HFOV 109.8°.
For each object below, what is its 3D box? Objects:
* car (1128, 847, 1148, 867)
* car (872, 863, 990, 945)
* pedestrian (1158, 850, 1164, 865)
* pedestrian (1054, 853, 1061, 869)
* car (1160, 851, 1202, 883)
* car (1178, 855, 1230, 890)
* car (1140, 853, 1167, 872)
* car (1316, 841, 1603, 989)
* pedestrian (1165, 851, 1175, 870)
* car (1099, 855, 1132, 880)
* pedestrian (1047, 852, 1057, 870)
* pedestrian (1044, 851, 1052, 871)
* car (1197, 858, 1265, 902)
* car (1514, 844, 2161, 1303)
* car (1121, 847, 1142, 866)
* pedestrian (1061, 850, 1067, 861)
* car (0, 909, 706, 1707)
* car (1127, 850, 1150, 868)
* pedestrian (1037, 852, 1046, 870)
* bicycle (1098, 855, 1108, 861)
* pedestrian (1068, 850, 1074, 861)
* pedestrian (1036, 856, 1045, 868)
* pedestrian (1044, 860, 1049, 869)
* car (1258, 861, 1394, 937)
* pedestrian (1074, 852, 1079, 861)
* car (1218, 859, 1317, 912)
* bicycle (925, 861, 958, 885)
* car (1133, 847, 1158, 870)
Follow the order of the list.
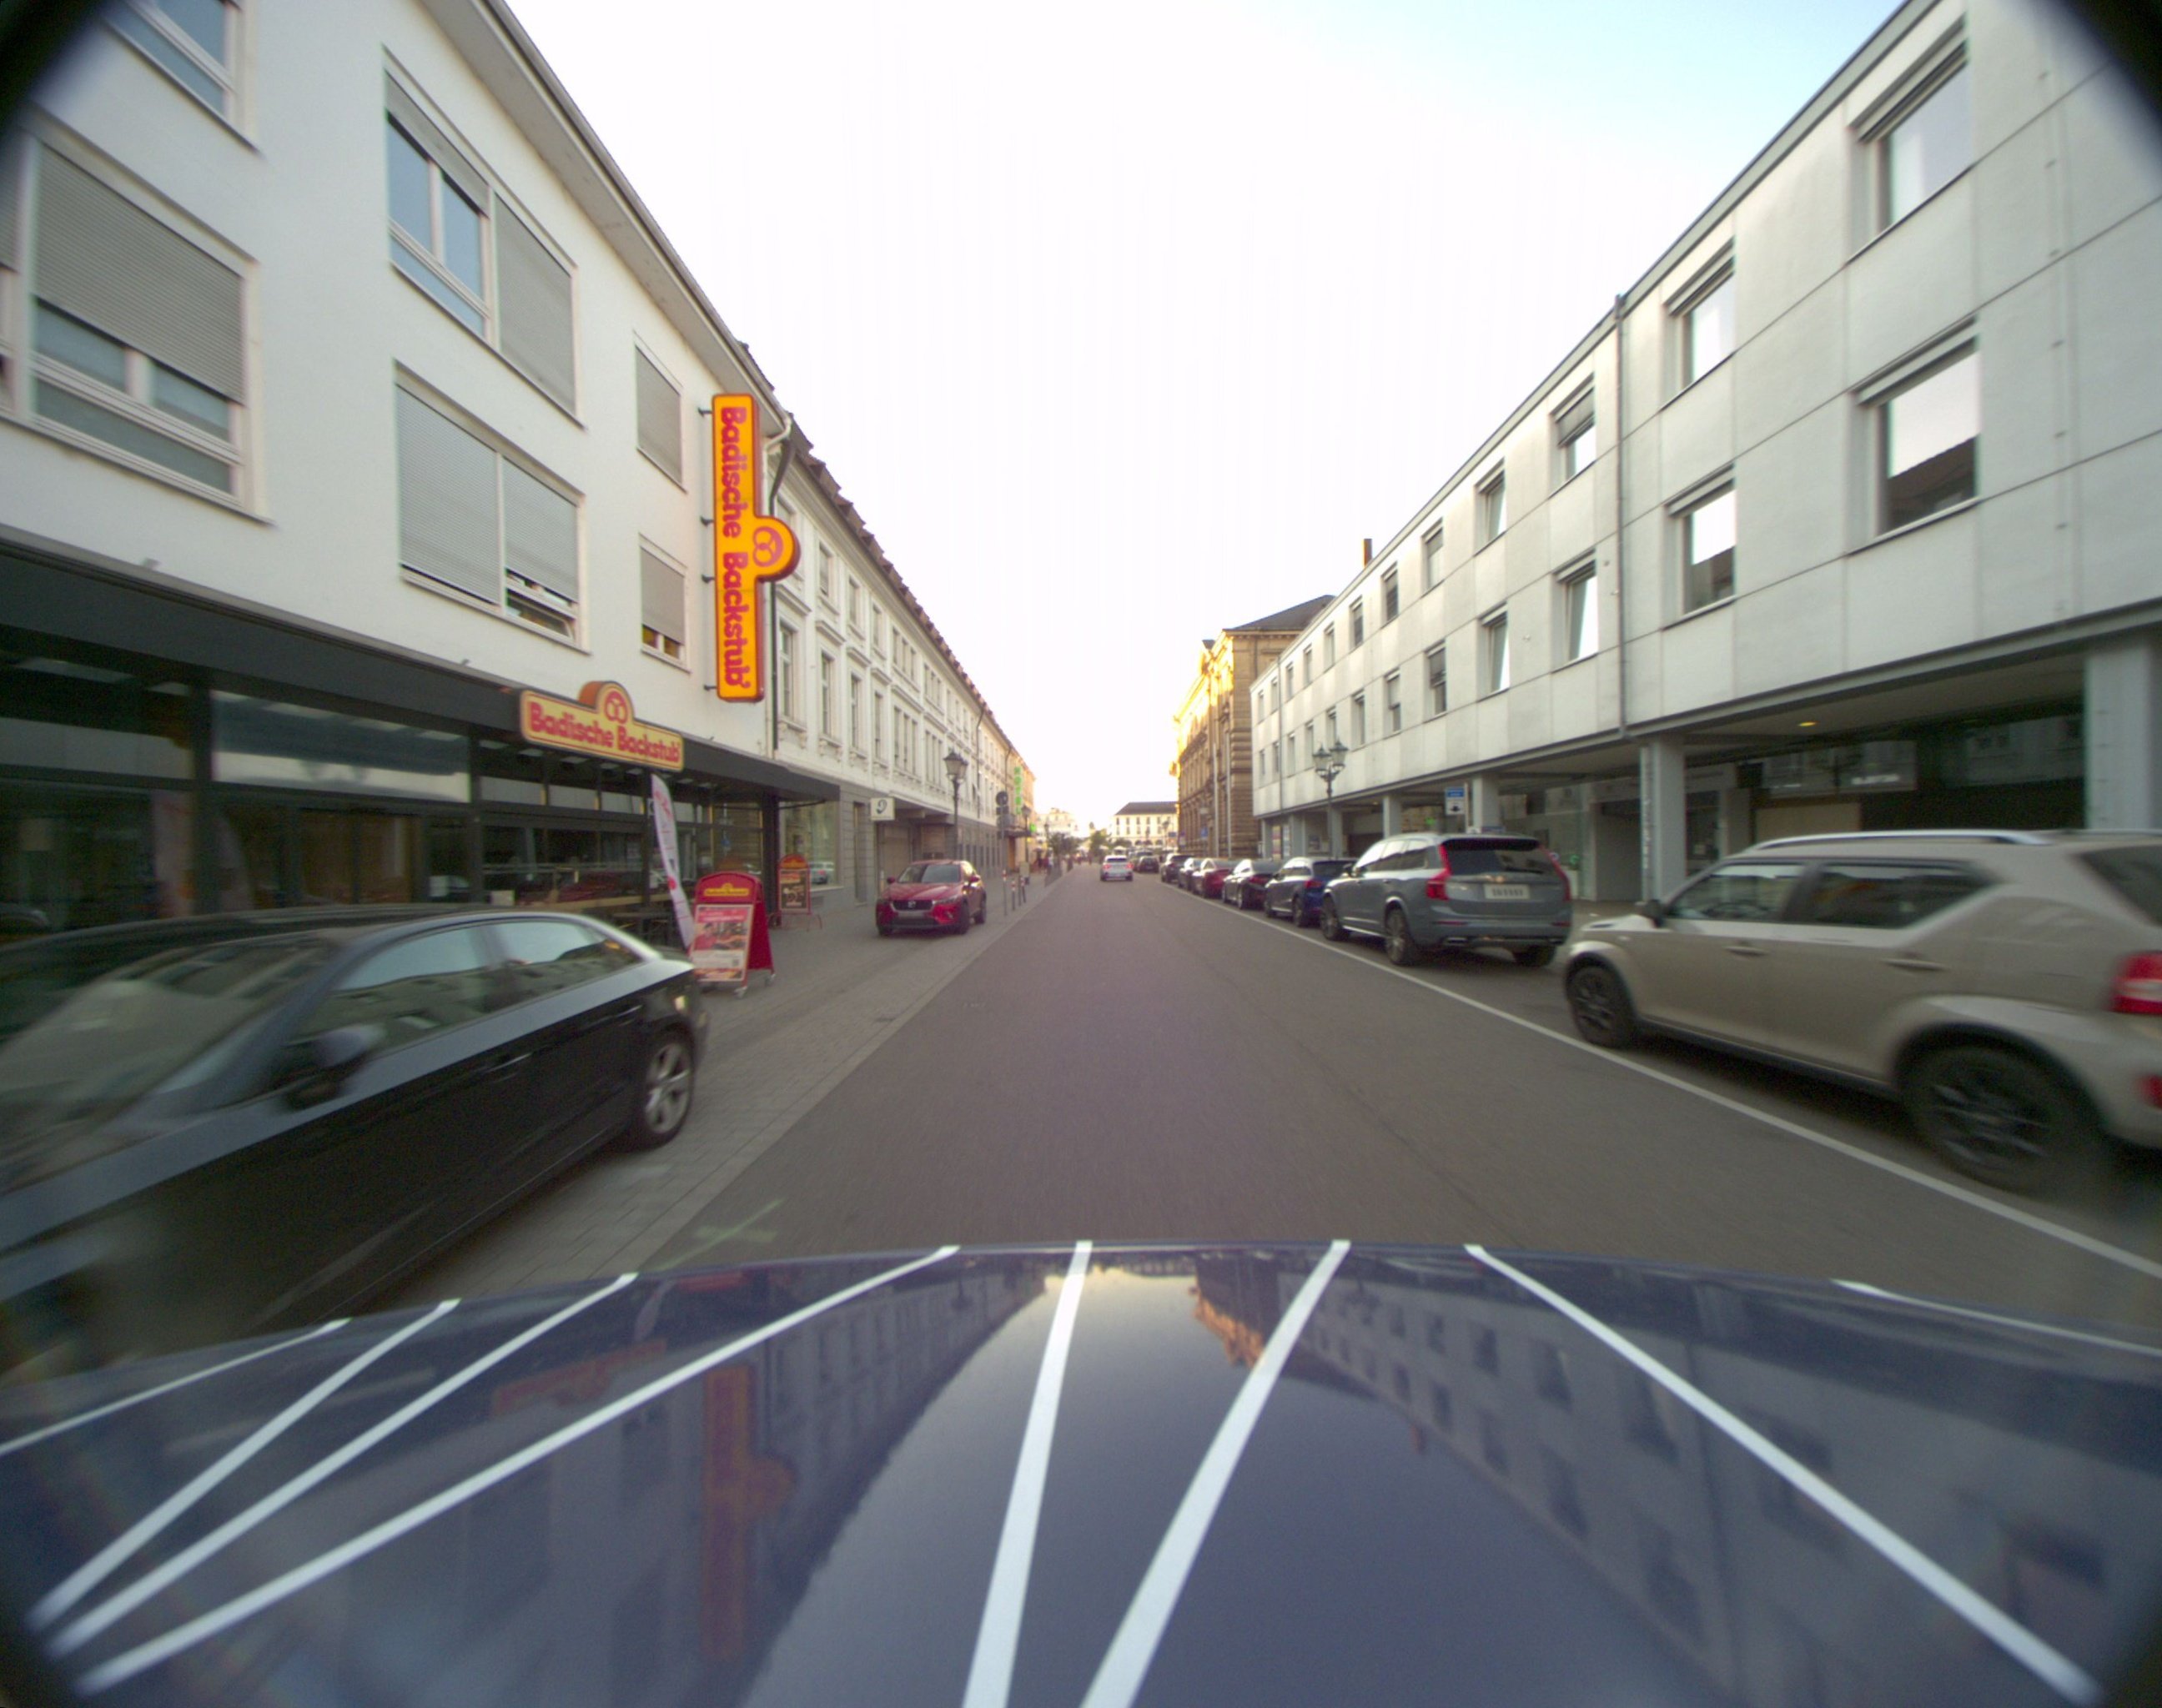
[{"bbox_3d":[6.255,0.302,83.823,1.998,2.075,5.207,-1,1,1],"label":"car"},{"bbox_3d":[-3.159,0.995,16.735,1.764,1.514,3.677,-1,0,1],"label":"car"},{"bbox_3d":[9.070,0.387,86.440,0.608,1.720,0.703,-1,1,2],"label":"pedestrian"},{"bbox_3d":[-2.454,0.719,79.936,0.608,1.720,0.558,-1,1,2],"label":"pedestrian"},{"bbox_3d":[5.302,0.655,40.581,1.789,1.605,4.166,-1,0,2],"label":"car"},{"bbox_3d":[5.407,0.776,33.843,1.789,1.400,4.088,-1,0,2],"label":"car"},{"bbox_3d":[6.229,0.720,65.413,1.998,1.486,4.164,-1,1,1],"label":"car"},{"bbox_3d":[5.080,0.699,11.057,1.998,1.718,4.516,0,0,1],"label":"car"},{"bbox_3d":[8.608,0.620,73.538,0.715,1.720,0.896,-4,0,2],"label":"pedestrian"},{"bbox_3d":[2.026,0.757,44.938,1.768,1.414,4.000,0,0,0],"label":"car"},{"bbox_3d":[-2.790,0.685,72.888,0.749,1.720,0.881,-1,1,7],"label":"pedestrian"},{"bbox_3d":[-3.115,0.659,71.738,0.621,1.779,0.914,-1,1,5],"label":"pedestrian"},{"bbox_3d":[5.343,0.879,27.540,1.789,1.400,4.088,-1,0,2],"label":"car"},{"bbox_3d":[4.874,0.790,4.721,1.999,1.652,3.999,-1,0,-2],"label":"car"},{"bbox_3d":[6.041,0.243,90.759,1.999,2.158,5.206,-2,0,-2],"label":"car"},{"bbox_3d":[-2.766,0.292,120.838,0.607,1.720,0.719,-1,1,44],"label":"pedestrian"},{"bbox_3d":[-3.140,1.082,2.546,1.806,1.455,4.116,-1,0,-2],"label":"car"},{"bbox_3d":[5.911,0.476,78.249,1.998,1.742,4.989,-1,1,0],"label":"car"},{"bbox_3d":[-3.745,0.677,72.537,0.715,1.720,0.873,-1,1,3],"label":"pedestrian"},{"bbox_3d":[3.867,0.696,133.325,1.683,1.115,0.846,-1,1,35],"label":"bicycle"},{"bbox_3d":[-1.620,0.280,120.938,0.667,1.720,0.767,-1,1,44],"label":"pedestrian"},{"bbox_3d":[-4.649,0.954,86.907,0.777,1.351,0.723,-2,1,-15],"label":"pedestrian"},{"bbox_3d":[-3.566,1.112,79.551,0.461,0.974,0.558,-1,1,2],"label":"pedestrian"},{"bbox_3d":[5.156,0.874,16.542,1.677,1.392,4.000,-1,0,0],"label":"car"},{"bbox_3d":[-0.761,0.377,125.502,0.683,1.557,0.653,-1,1,-1],"label":"pedestrian"},{"bbox_3d":[5.373,0.861,22.421,1.998,1.346,4.000,0,0,1],"label":"car"},{"bbox_3d":[-7.404,0.991,40.332,1.661,1.245,0.439,-1,1,-2],"label":"bicycle"},{"bbox_3d":[6.052,0.410,71.999,1.998,2.065,4.989,-1,1,0],"label":"car"}]
